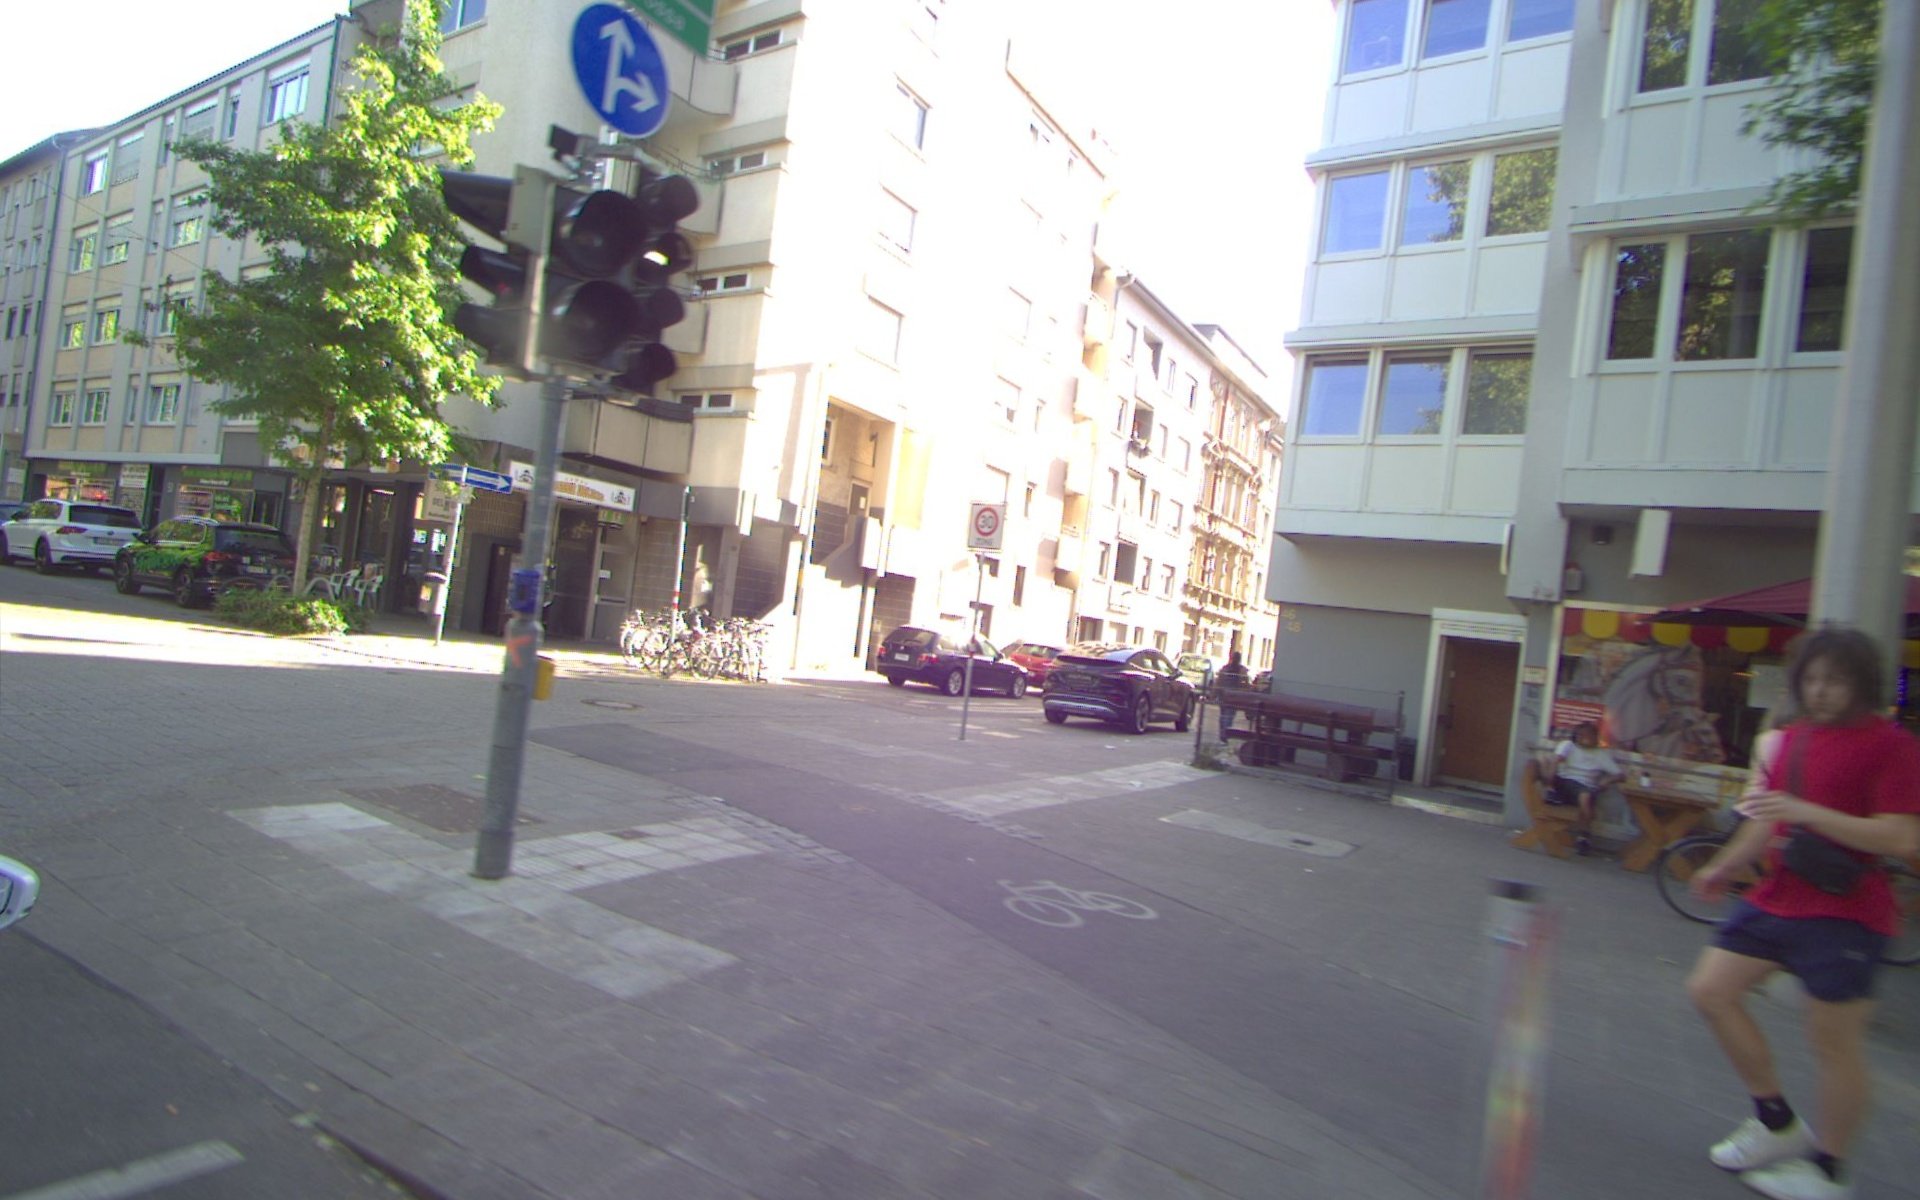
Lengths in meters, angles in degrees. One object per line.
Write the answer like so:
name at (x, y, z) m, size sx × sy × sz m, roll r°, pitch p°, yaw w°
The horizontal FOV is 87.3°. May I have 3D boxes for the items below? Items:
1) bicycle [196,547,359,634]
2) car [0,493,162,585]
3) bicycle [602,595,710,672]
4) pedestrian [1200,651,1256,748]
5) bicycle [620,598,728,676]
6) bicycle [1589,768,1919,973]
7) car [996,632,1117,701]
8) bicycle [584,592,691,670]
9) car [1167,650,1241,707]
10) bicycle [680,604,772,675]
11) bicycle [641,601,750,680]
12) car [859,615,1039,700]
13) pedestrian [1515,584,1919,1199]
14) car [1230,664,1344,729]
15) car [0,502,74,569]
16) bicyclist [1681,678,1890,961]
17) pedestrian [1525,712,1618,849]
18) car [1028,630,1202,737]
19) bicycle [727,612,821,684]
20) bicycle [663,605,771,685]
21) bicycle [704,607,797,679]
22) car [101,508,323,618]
bicycle at (-11.795, -0.145, 17.449) m, size 0.671 × 1.201 × 2.125 m, roll 6°, pitch -3°, yaw 41°
car at (-20.267, -1.416, 22.989) m, size 4.344 × 1.624 × 1.803 m, roll 6°, pitch -3°, yaw 34°
bicycle at (-5.439, 0.631, 18.115) m, size 0.502 × 1.222 × 1.918 m, roll 7°, pitch -1°, yaw 29°
pedestrian at (4.629, 1.715, 17.373) m, size 0.635 × 1.579 × 0.551 m, roll 5°, pitch -3°, yaw 37°
bicycle at (-5.012, 0.686, 17.774) m, size 0.502 × 1.222 × 1.918 m, roll 7°, pitch -1°, yaw 29°
bicycle at (5.694, 1.856, 7.131) m, size 1.991 × 0.974 × 0.677 m, roll 6°, pitch -3°, yaw 36°
car at (2.805, 1.914, 28.385) m, size 1.679 × 1.526 × 3.996 m, roll 6°, pitch -3°, yaw 32°
bicycle at (-5.872, 0.602, 18.448) m, size 0.502 × 1.221 × 1.919 m, roll 6°, pitch -3°, yaw 29°
car at (9.550, 3.077, 39.160) m, size 1.694 × 1.836 × 3.561 m, roll 6°, pitch -3°, yaw 31°
bicycle at (-4.628, 0.816, 20.018) m, size 0.502 × 1.221 × 1.919 m, roll 6°, pitch -3°, yaw 29°
bicycle at (-4.565, 0.740, 17.503) m, size 0.502 × 1.222 × 1.918 m, roll 8°, pitch -1°, yaw 29°
car at (-0.139, 1.427, 23.822) m, size 1.840 × 1.495 × 4.591 m, roll 9°, pitch 0°, yaw 34°
pedestrian at (2.622, 0.930, 3.219) m, size 1.028 × 1.778 × 0.879 m, roll 7°, pitch -2°, yaw 2°
car at (9.752, 2.890, 29.839) m, size 1.935 × 1.573 × 3.989 m, roll 6°, pitch -2°, yaw 36°
car at (-24.943, -1.789, 26.149) m, size 4.179 × 1.456 × 1.747 m, roll 6°, pitch -3°, yaw 34°
bicyclist at (5.783, 1.491, 7.115) m, size 0.950 × 1.736 × 0.677 m, roll 6°, pitch -2°, yaw 36°
pedestrian at (6.467, 1.886, 10.638) m, size 0.704 × 1.302 × 0.536 m, roll 6°, pitch -2°, yaw 35°
car at (3.081, 1.630, 19.145) m, size 1.933 × 1.609 × 4.262 m, roll 5°, pitch -3°, yaw 27°
bicycle at (-3.550, 0.950, 19.387) m, size 0.502 × 1.221 × 1.919 m, roll 8°, pitch -1°, yaw 30°
bicycle at (-4.130, 0.802, 17.260) m, size 0.502 × 1.222 × 1.918 m, roll 8°, pitch -1°, yaw 29°
bicycle at (-4.068, 0.870, 19.687) m, size 0.502 × 1.221 × 1.919 m, roll 6°, pitch -3°, yaw 29°
car at (-14.502, -0.739, 19.452) m, size 4.374 × 1.635 × 1.995 m, roll 6°, pitch -1°, yaw 34°
